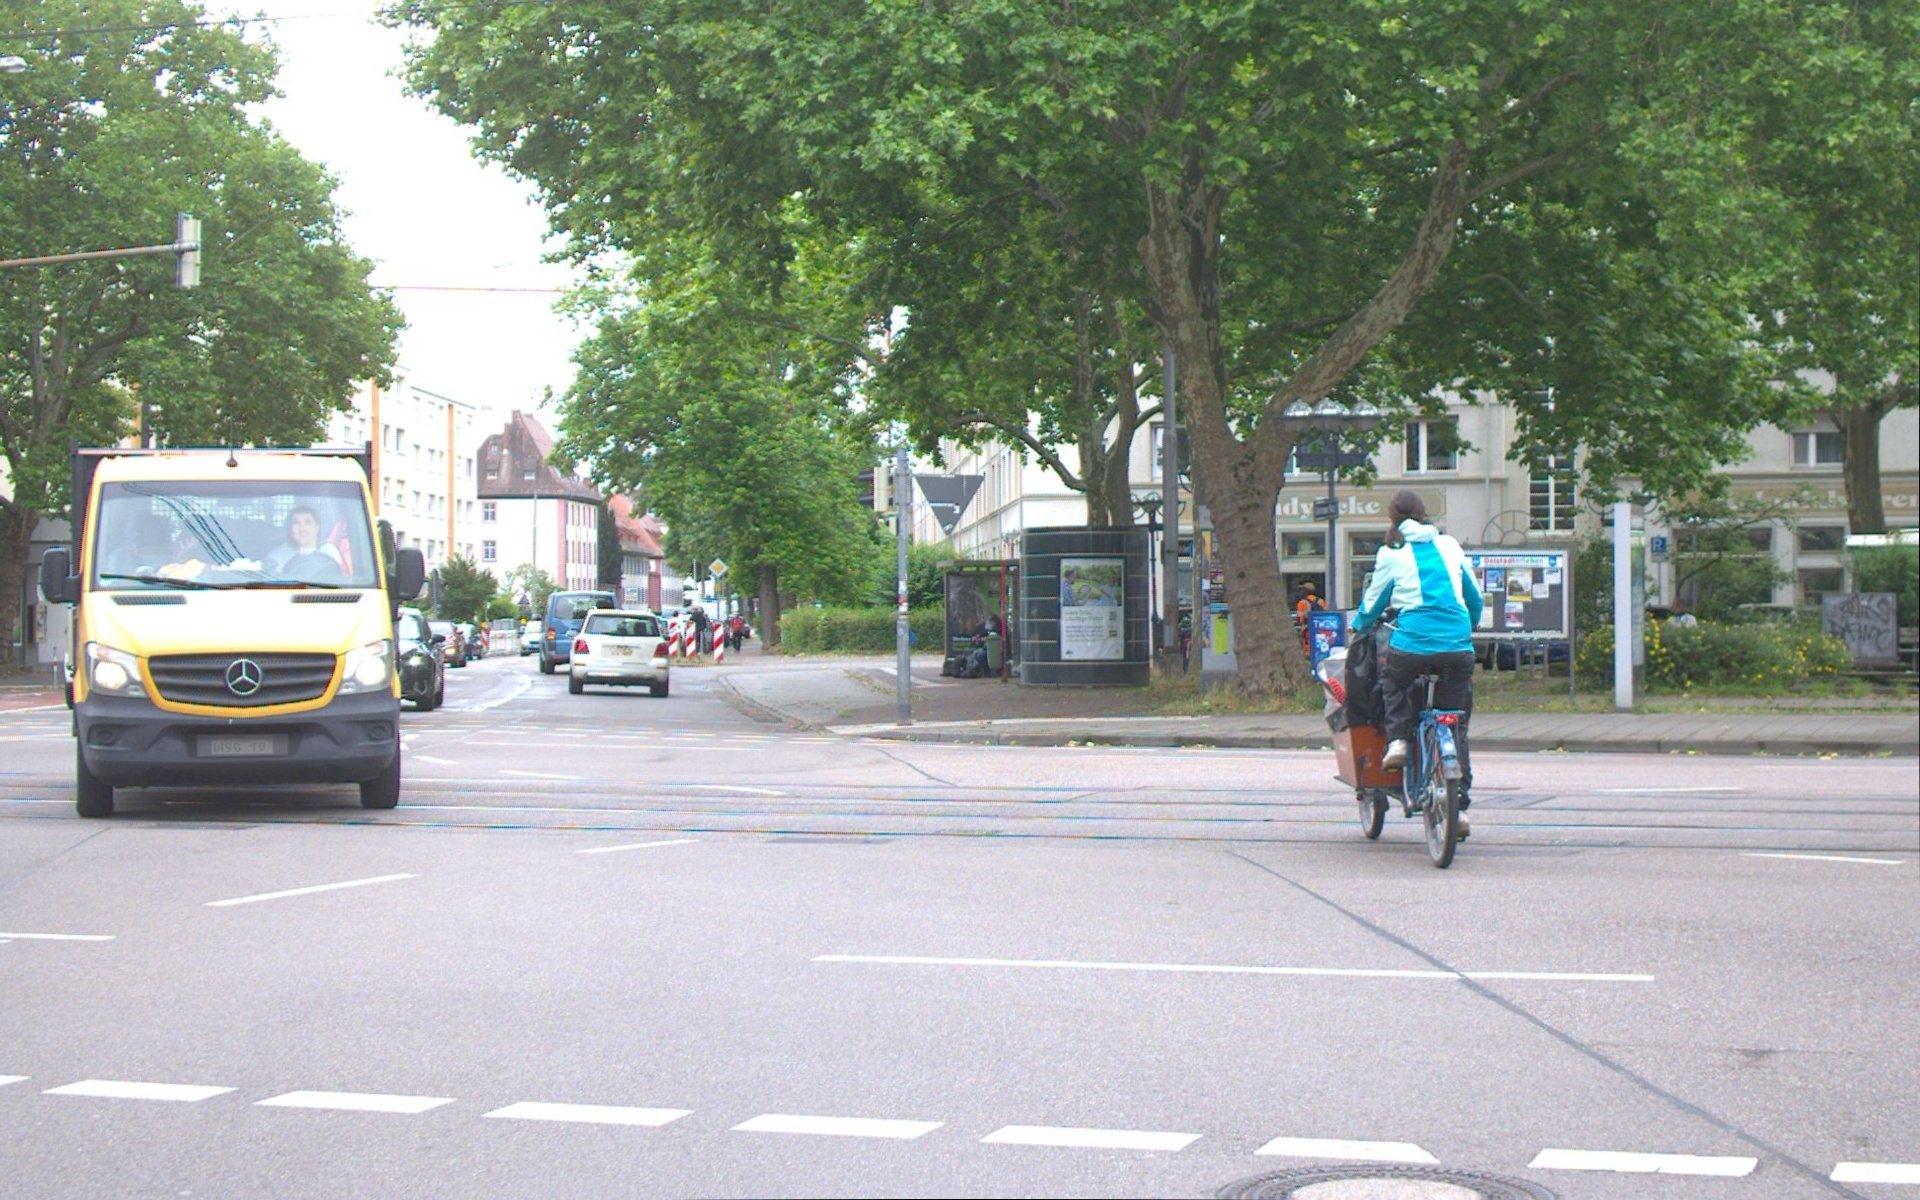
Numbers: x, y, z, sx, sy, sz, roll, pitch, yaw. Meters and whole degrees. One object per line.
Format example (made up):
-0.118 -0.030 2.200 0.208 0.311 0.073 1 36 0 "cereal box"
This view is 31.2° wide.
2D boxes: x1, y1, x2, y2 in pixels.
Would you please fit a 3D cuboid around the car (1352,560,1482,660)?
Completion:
10.378 0.218 77.806 2.176 2.193 3.996 0 0 19 "car"

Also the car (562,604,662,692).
-6.576 0.885 64.959 1.815 1.586 4.001 0 0 -6 "car"

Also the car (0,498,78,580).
-21.219 -1.304 73.805 3.987 1.700 2.000 0 -1 -34 "car"

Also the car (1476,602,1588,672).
12.836 0.814 77.000 1.798 1.538 3.823 0 0 20 "car"

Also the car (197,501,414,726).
-7.583 0.146 40.319 2.133 2.442 5.580 0 0 -7 "car"

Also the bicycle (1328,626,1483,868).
2.178 0.688 16.993 0.494 1.094 2.138 0 0 1 "bicycle"

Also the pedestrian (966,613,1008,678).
0.577 0.974 73.246 0.817 1.367 0.763 0 0 -6 "pedestrian"

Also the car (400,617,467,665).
-16.458 1.266 107.622 1.853 1.448 4.168 0 0 -6 "car"

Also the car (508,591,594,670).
-9.878 0.702 82.983 1.993 1.842 4.001 0 0 -7 "car"

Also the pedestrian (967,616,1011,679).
0.605 0.999 72.262 0.853 1.310 0.763 0 0 -6 "pedestrian"

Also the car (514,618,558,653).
-18.523 1.527 150.194 1.767 1.481 4.001 0 0 -5 "car"

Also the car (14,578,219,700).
-13.221 0.574 54.191 1.867 1.820 5.225 0 0 1 "car"

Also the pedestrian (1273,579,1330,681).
5.888 0.517 59.306 0.784 1.738 0.925 0 0 -7 "pedestrian"

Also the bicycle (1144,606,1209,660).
4.721 0.712 74.898 0.779 1.164 2.330 -1 0 20 "bicycle"

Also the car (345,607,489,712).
-7.731 0.824 49.272 1.808 1.422 4.318 0 0 -6 "car"

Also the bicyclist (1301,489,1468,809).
2.066 0.230 16.842 0.686 1.512 1.058 0 0 1 "bicyclist"

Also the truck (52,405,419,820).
-4.889 0.055 22.846 2.074 2.400 5.464 -1 0 -14 "truck"

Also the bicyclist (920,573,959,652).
-0.461 0.286 76.877 0.760 1.753 0.820 0 0 -9 "bicyclist"

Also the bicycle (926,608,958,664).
-0.406 0.806 77.133 0.417 1.238 1.927 0 0 -9 "bicycle"
